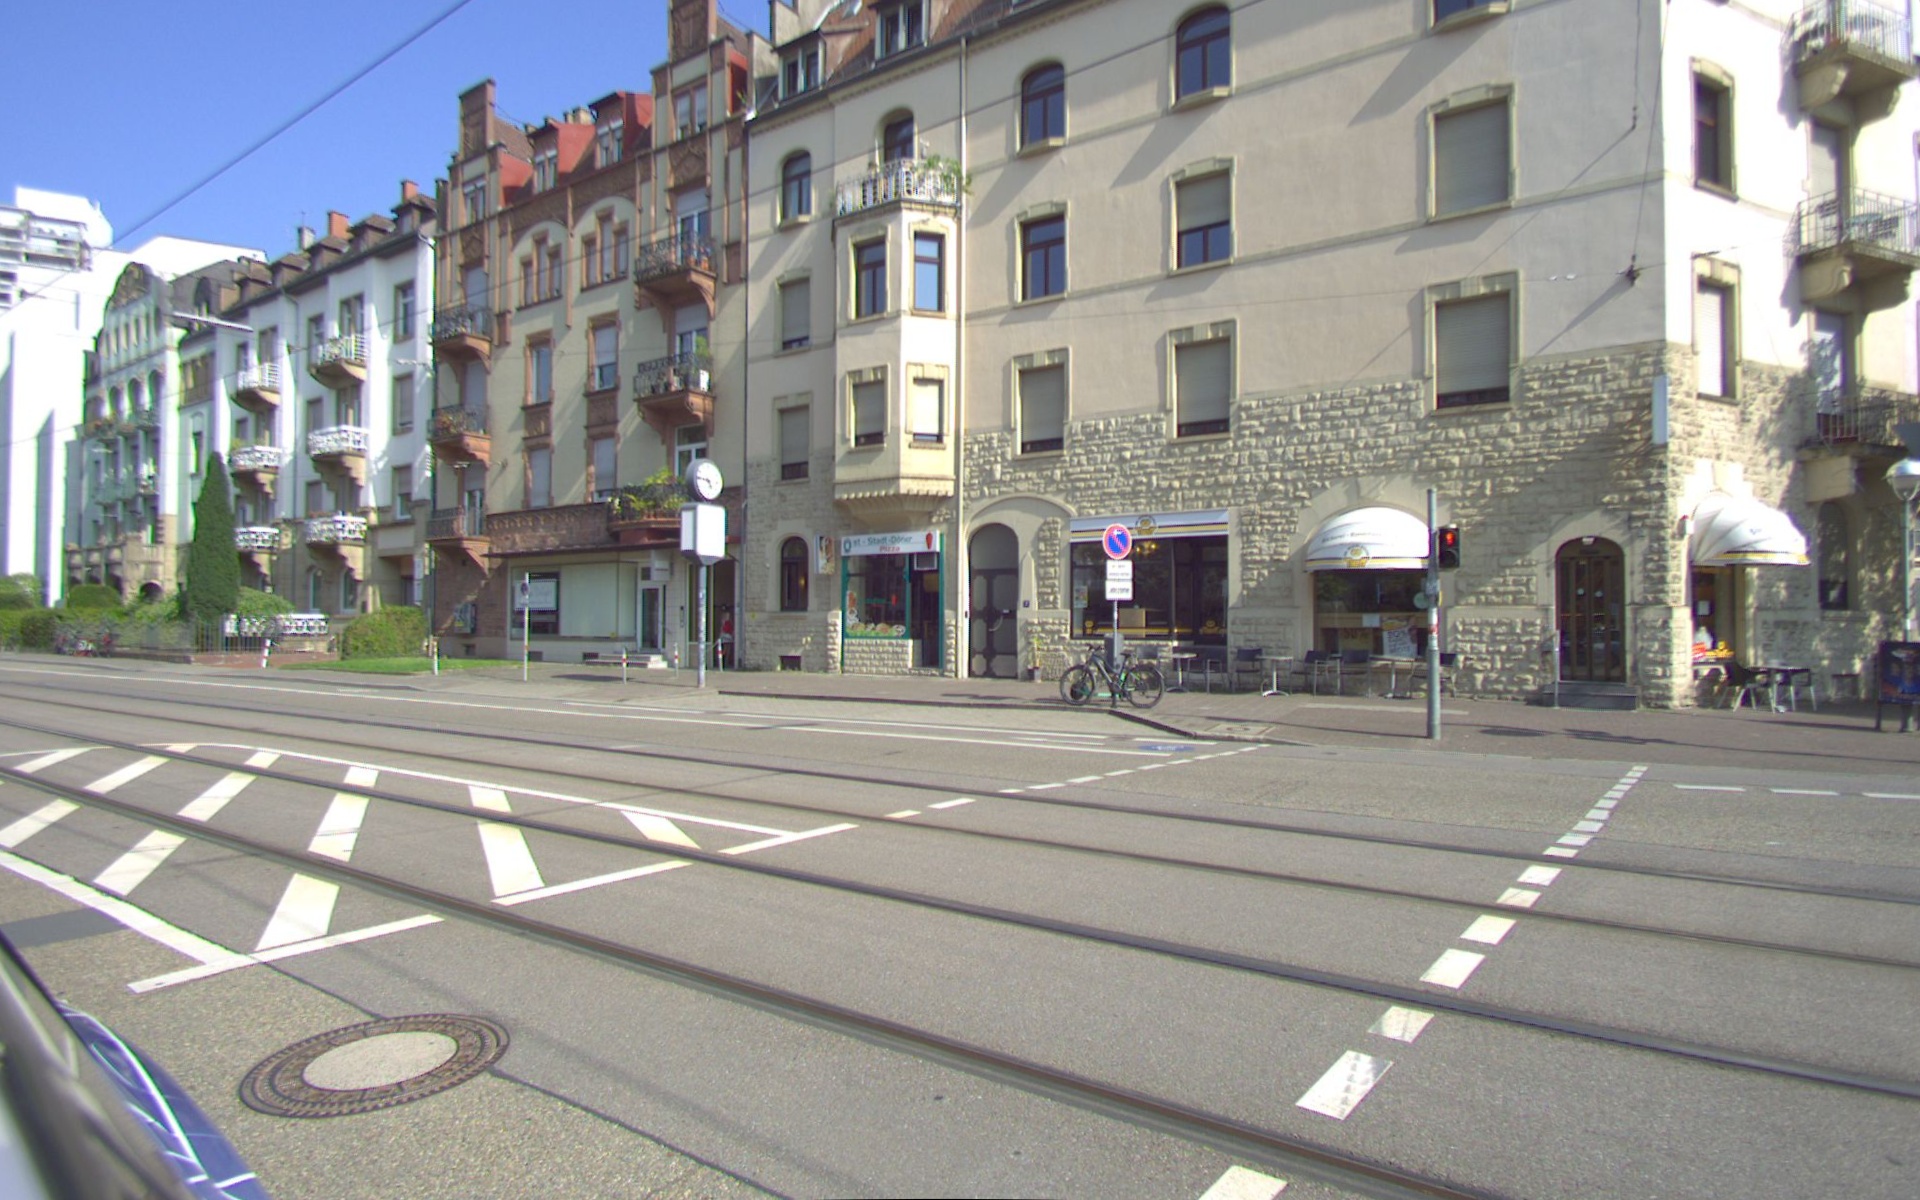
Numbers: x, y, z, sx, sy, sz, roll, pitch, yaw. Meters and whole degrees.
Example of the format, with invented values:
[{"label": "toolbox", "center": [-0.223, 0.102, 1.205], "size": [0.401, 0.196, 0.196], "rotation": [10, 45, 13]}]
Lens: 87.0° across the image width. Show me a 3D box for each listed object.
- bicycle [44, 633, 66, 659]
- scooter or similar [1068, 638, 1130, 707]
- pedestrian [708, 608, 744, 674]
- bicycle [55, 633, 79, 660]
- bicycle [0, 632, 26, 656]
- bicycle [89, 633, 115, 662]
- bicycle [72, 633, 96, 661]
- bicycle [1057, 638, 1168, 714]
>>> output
[{"label": "bicycle", "center": [-38.278, 1.936, 42.805], "size": [1.351, 1.096, 0.367], "rotation": [-1, -2, 34]}, {"label": "scooter or similar", "center": [2.491, 1.295, 18.165], "size": [1.017, 1.206, 0.367], "rotation": [0, -2, -11]}, {"label": "pedestrian", "center": [-6.782, 1.182, 29.404], "size": [0.767, 1.874, 0.828], "rotation": [0, -2, 9]}, {"label": "bicycle", "center": [-36.854, 1.896, 41.760], "size": [1.351, 1.096, 0.367], "rotation": [-1, -2, 34]}, {"label": "bicycle", "center": [-45.460, 2.093, 48.228], "size": [0.422, 1.096, 1.388], "rotation": [-1, -2, 16]}, {"label": "bicycle", "center": [-33.179, 1.834, 39.122], "size": [1.484, 1.096, 0.367], "rotation": [-1, -2, 34]}, {"label": "bicycle", "center": [-34.683, 1.853, 40.056], "size": [1.351, 1.096, 0.367], "rotation": [-1, -2, 34]}, {"label": "bicycle", "center": [2.608, 1.281, 17.386], "size": [1.846, 1.236, 0.450], "rotation": [-1, -2, 25]}]
